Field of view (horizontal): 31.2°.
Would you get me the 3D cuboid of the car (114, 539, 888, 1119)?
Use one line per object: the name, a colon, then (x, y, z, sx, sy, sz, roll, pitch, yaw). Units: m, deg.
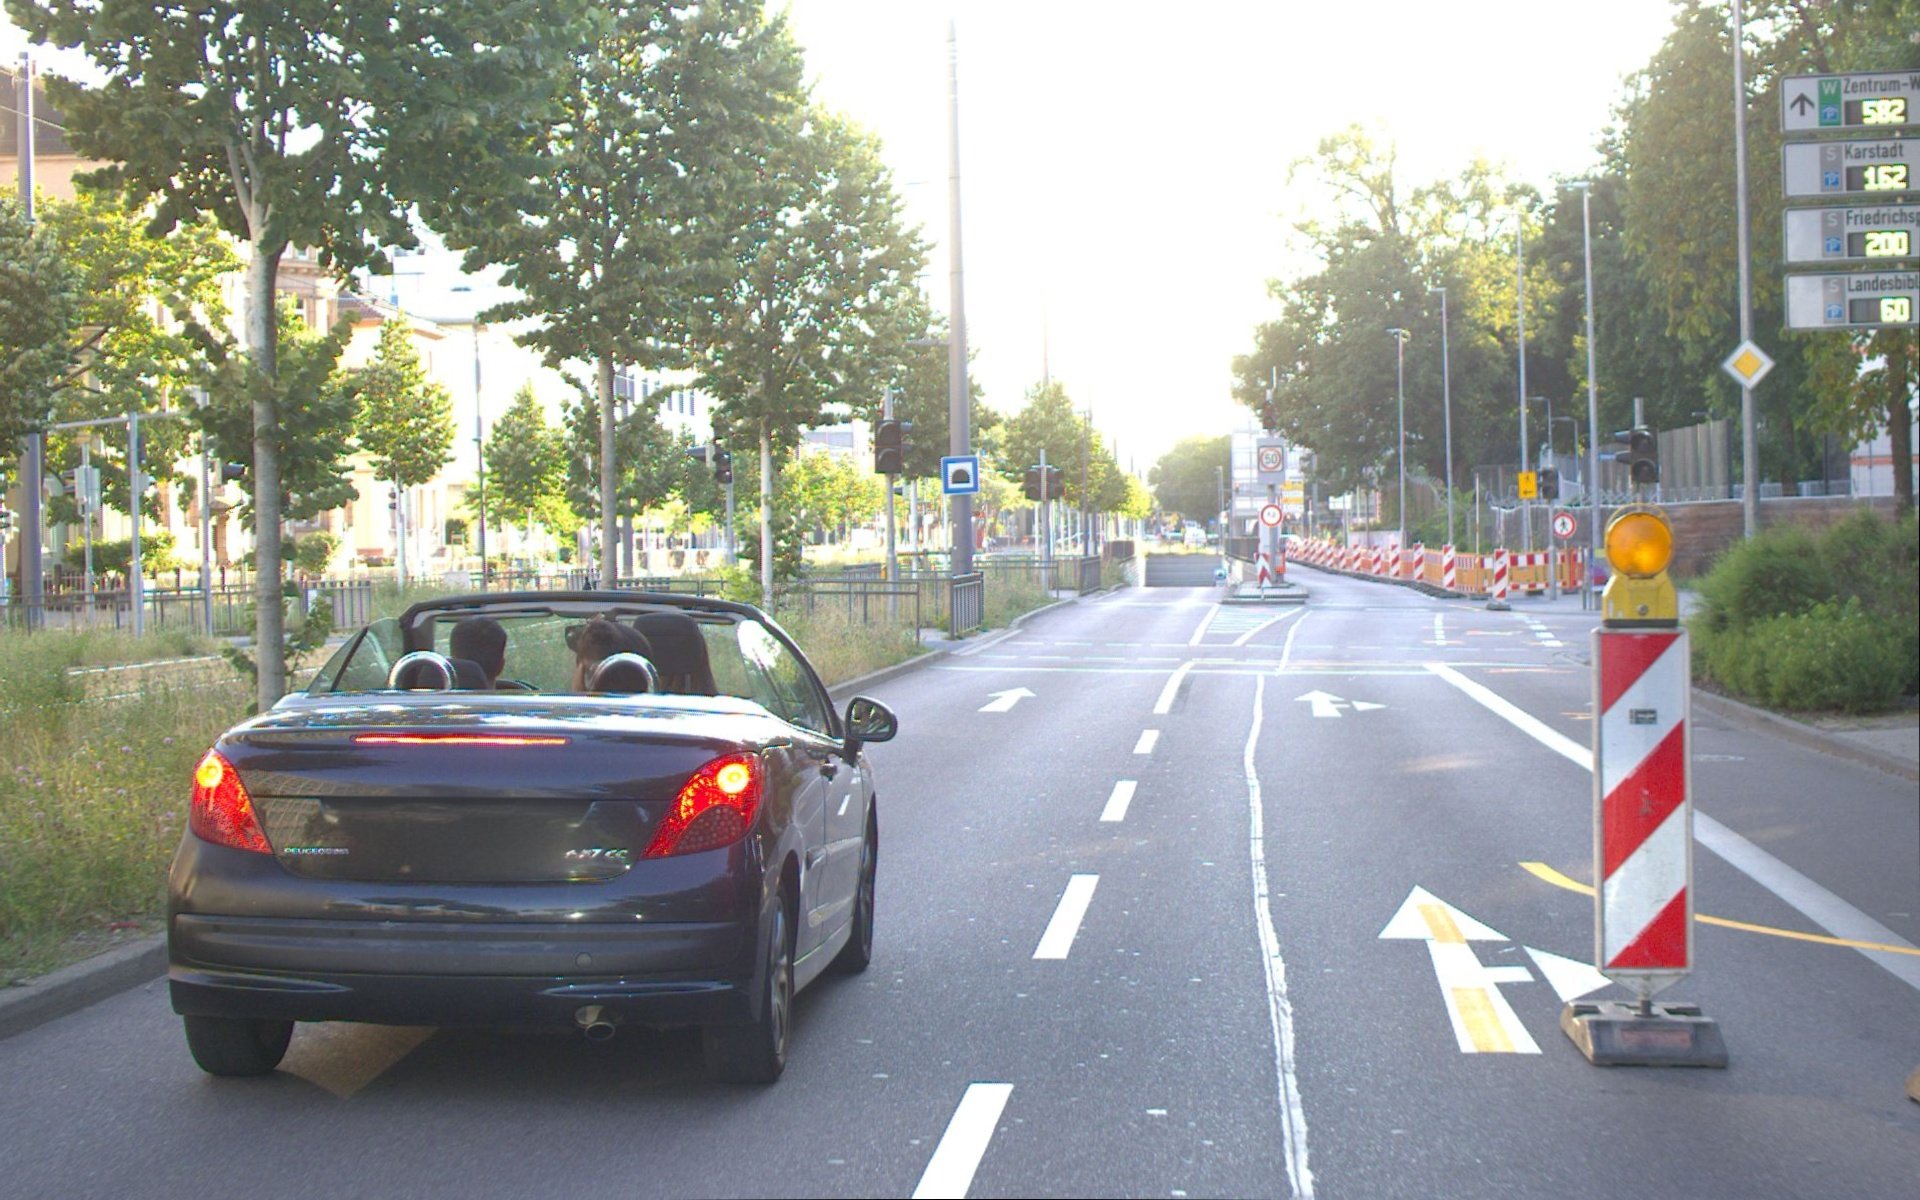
car: (-1.244, 0.558, 10.890, 1.719, 1.444, 3.901, 1, 2, 3)
